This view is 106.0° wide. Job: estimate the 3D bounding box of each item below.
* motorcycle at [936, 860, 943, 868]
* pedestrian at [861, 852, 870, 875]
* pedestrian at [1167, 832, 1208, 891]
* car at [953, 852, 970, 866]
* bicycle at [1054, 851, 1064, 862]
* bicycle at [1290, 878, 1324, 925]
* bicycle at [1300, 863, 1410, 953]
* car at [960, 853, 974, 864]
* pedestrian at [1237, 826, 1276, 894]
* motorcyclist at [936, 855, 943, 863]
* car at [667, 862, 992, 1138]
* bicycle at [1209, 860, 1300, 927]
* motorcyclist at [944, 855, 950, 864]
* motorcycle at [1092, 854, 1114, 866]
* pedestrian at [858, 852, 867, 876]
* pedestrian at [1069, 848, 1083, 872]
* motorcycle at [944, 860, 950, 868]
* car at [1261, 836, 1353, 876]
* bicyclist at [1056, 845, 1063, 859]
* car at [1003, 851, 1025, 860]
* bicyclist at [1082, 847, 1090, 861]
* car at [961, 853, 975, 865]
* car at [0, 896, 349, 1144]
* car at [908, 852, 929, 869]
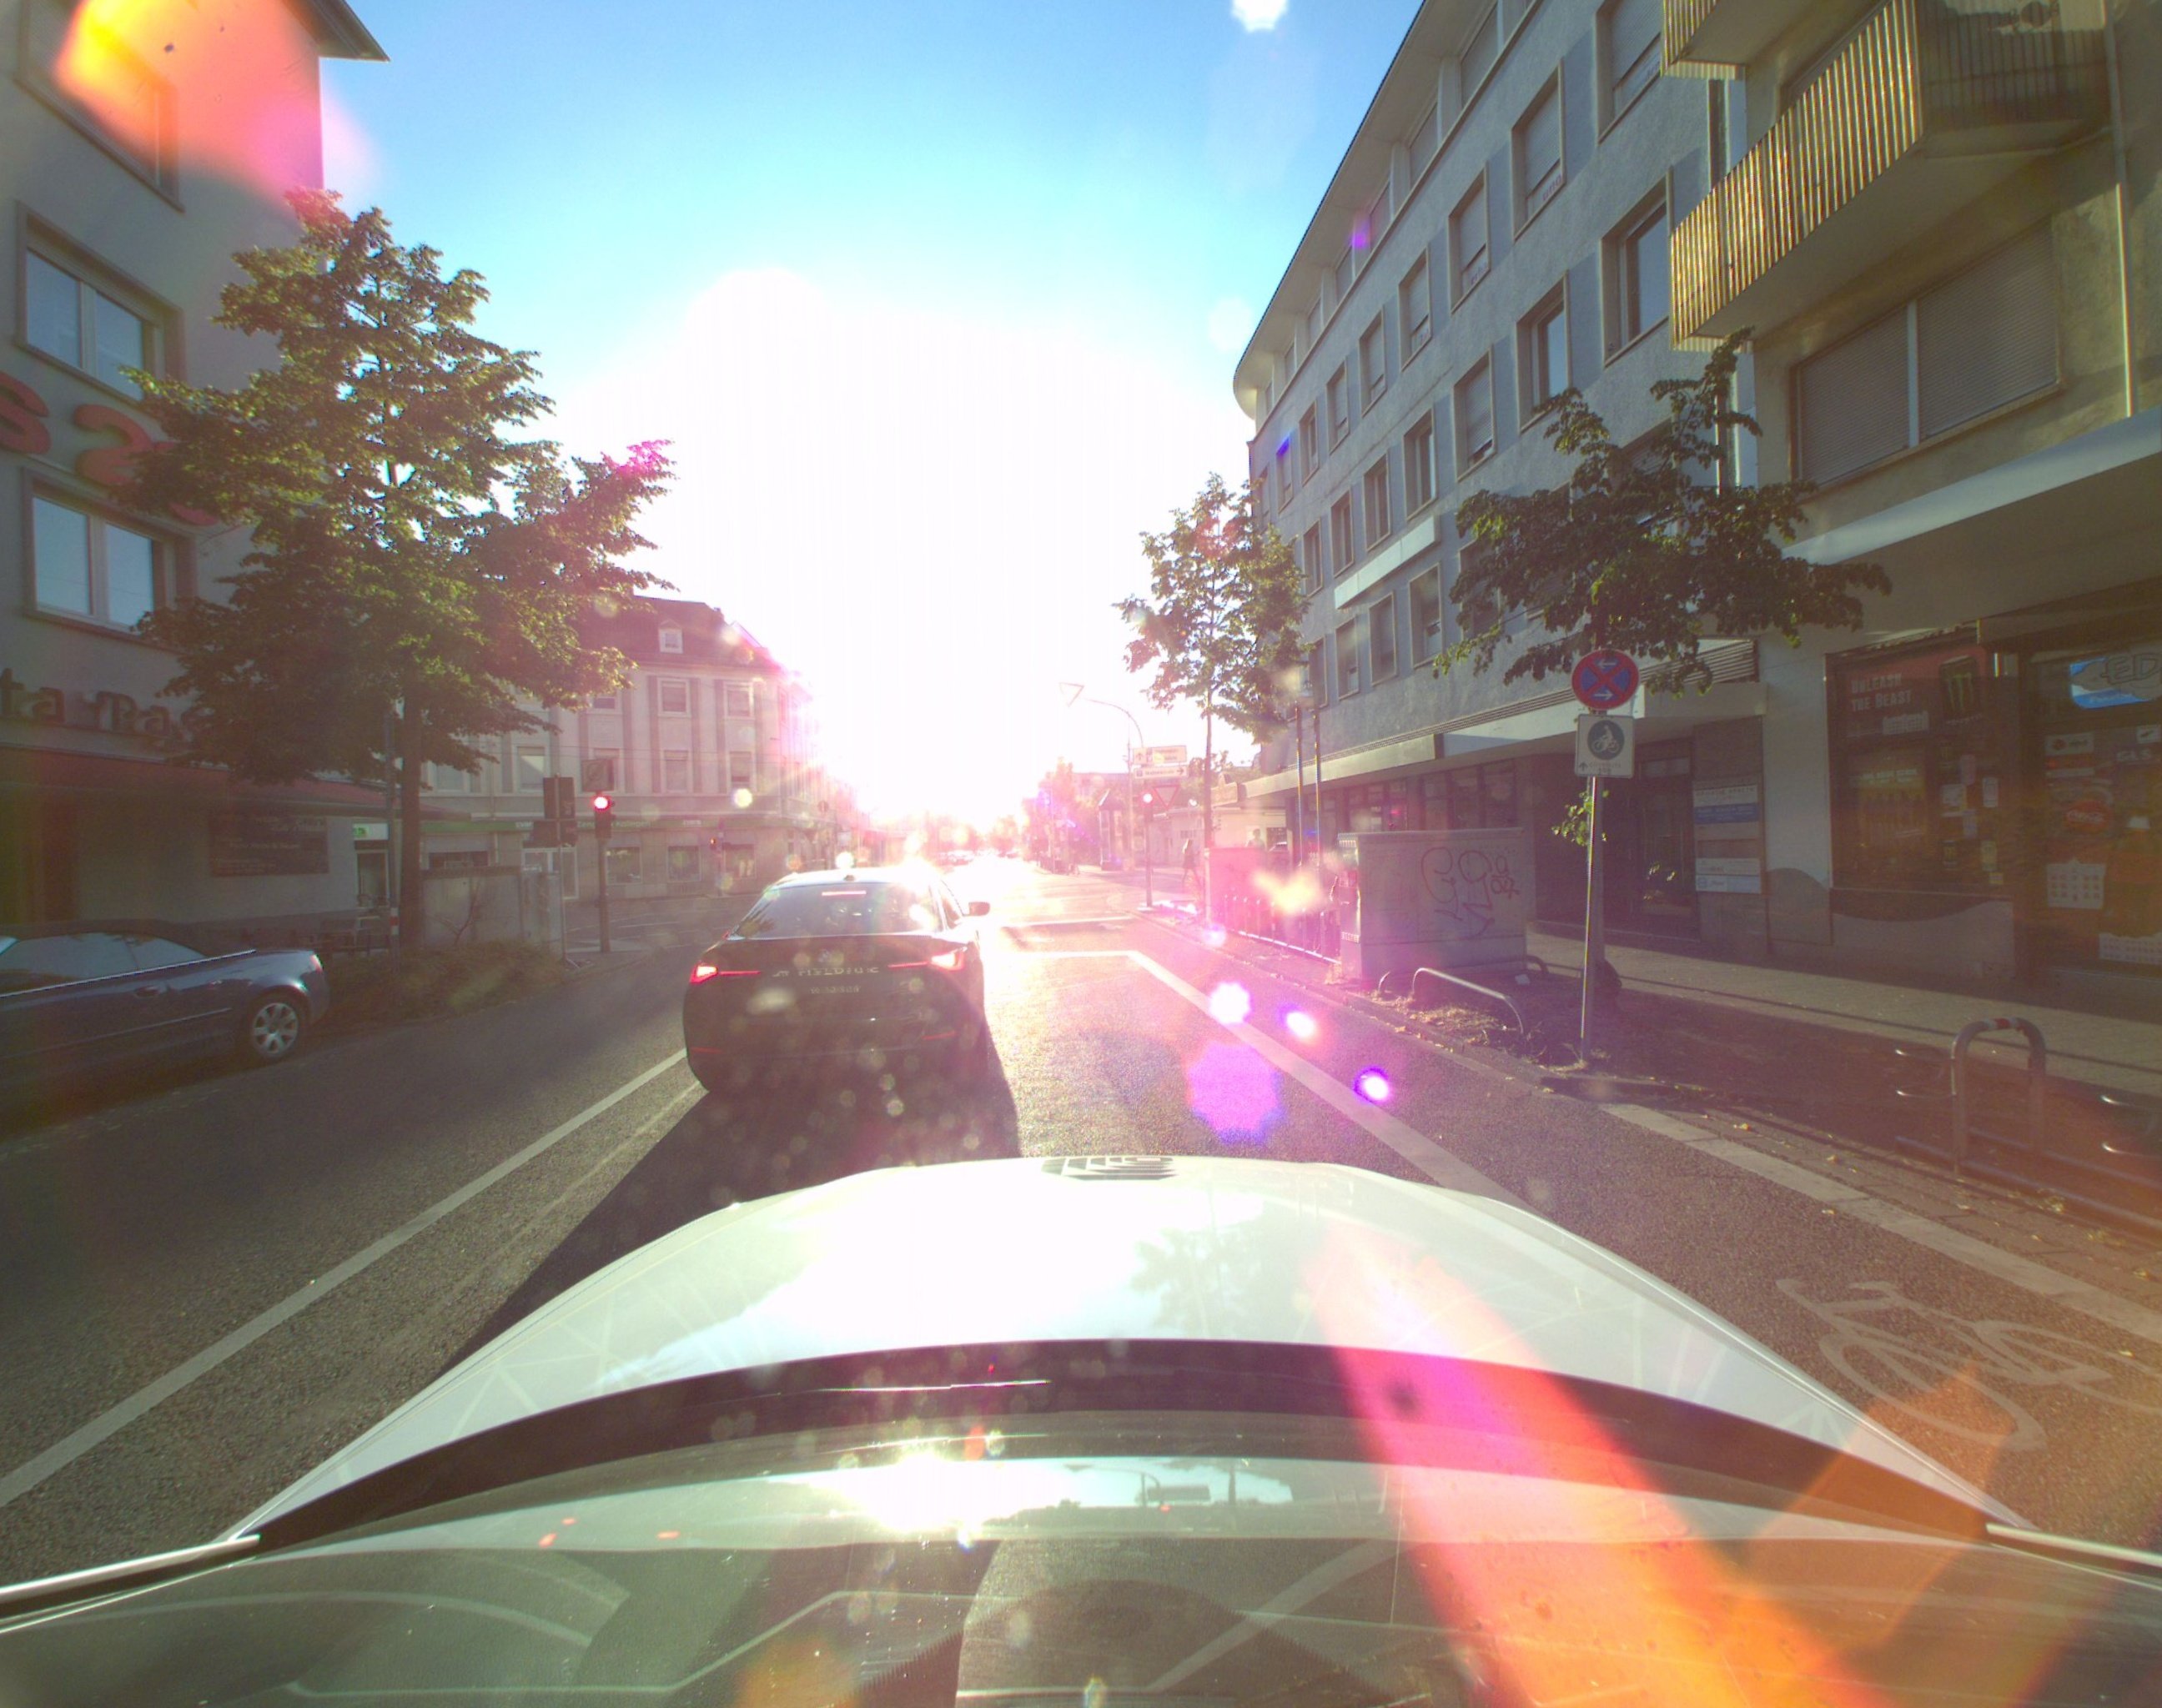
[{"bbox_3d":[-16.472,1.148,94.721,0.574,0.915,2.196,0,0,-6],"label":"motorcycle"},{"bbox_3d":[-17.317,0.771,65.403,0.616,1.876,0.676,0,0,-10],"label":"pedestrian"},{"bbox_3d":[3.582,0.259,27.411,1.007,1.860,0.634,-7,2,-27],"label":"pedestrian"},{"bbox_3d":[-13.957,0.577,95.186,1.816,1.519,3.992,-2,0,-6],"label":"car"},{"bbox_3d":[-2.246,0.269,84.549,0.551,1.159,2.133,-1,-1,-14],"label":"bicycle"},{"bbox_3d":[4.213,0.875,15.253,0.249,0.796,1.114,0,0,-4],"label":"bicycle"},{"bbox_3d":[3.839,0.750,11.437,1.438,1.220,0.383,0,0,-5],"label":"bicycle"},{"bbox_3d":[-17.322,0.646,123.902,1.816,1.519,3.992,-2,0,-6],"label":"car"},{"bbox_3d":[4.932,0.170,22.900,0.834,1.841,0.677,-2,0,-6],"label":"pedestrian"},{"bbox_3d":[-16.468,0.616,94.721,0.574,0.915,2.196,0,0,-6],"label":"motorcyclist"},{"bbox_3d":[-1.644,0.815,6.647,1.735,1.428,4.213,-1,0,-7],"label":"car"},{"bbox_3d":[3.234,0.726,15.196,1.610,1.171,0.318,-2,0,-5],"label":"bicycle"},{"bbox_3d":[-15.523,0.609,94.229,0.574,0.995,0.701,0,0,-6],"label":"motorcyclist"},{"bbox_3d":[1.824,0.526,67.960,1.673,0.939,0.851,-2,0,-18],"label":"motorcycle"},{"bbox_3d":[-17.313,0.771,64.555,0.642,1.876,0.630,0,0,-7],"label":"pedestrian"},{"bbox_3d":[-0.303,0.368,51.274,0.736,1.529,0.469,0,0,-25],"label":"pedestrian"},{"bbox_3d":[-15.539,1.141,94.326,0.574,0.915,2.196,0,0,-6],"label":"motorcycle"},{"bbox_3d":[10.794,0.056,38.778,4.307,1.707,1.787,-2,1,-32],"label":"car"},{"bbox_3d":[-2.238,-0.233,84.484,0.551,1.481,0.719,-1,-1,-15],"label":"bicyclist"},{"bbox_3d":[-13.387,0.332,163.212,4.013,1.519,1.806,-3,0,-31],"label":"car"},{"bbox_3d":[0.548,-0.029,88.806,0.879,1.505,0.613,0,0,5],"label":"bicyclist"},{"bbox_3d":[-15.737,0.647,113.725,1.816,1.519,3.992,-2,0,-6],"label":"car"},{"bbox_3d":[-7.638,1.153,5.536,1.721,1.415,4.270,-4,0,-7],"label":"car"},{"bbox_3d":[-17.494,0.671,87.713,1.816,1.788,3.992,-2,0,-6],"label":"car"}]
